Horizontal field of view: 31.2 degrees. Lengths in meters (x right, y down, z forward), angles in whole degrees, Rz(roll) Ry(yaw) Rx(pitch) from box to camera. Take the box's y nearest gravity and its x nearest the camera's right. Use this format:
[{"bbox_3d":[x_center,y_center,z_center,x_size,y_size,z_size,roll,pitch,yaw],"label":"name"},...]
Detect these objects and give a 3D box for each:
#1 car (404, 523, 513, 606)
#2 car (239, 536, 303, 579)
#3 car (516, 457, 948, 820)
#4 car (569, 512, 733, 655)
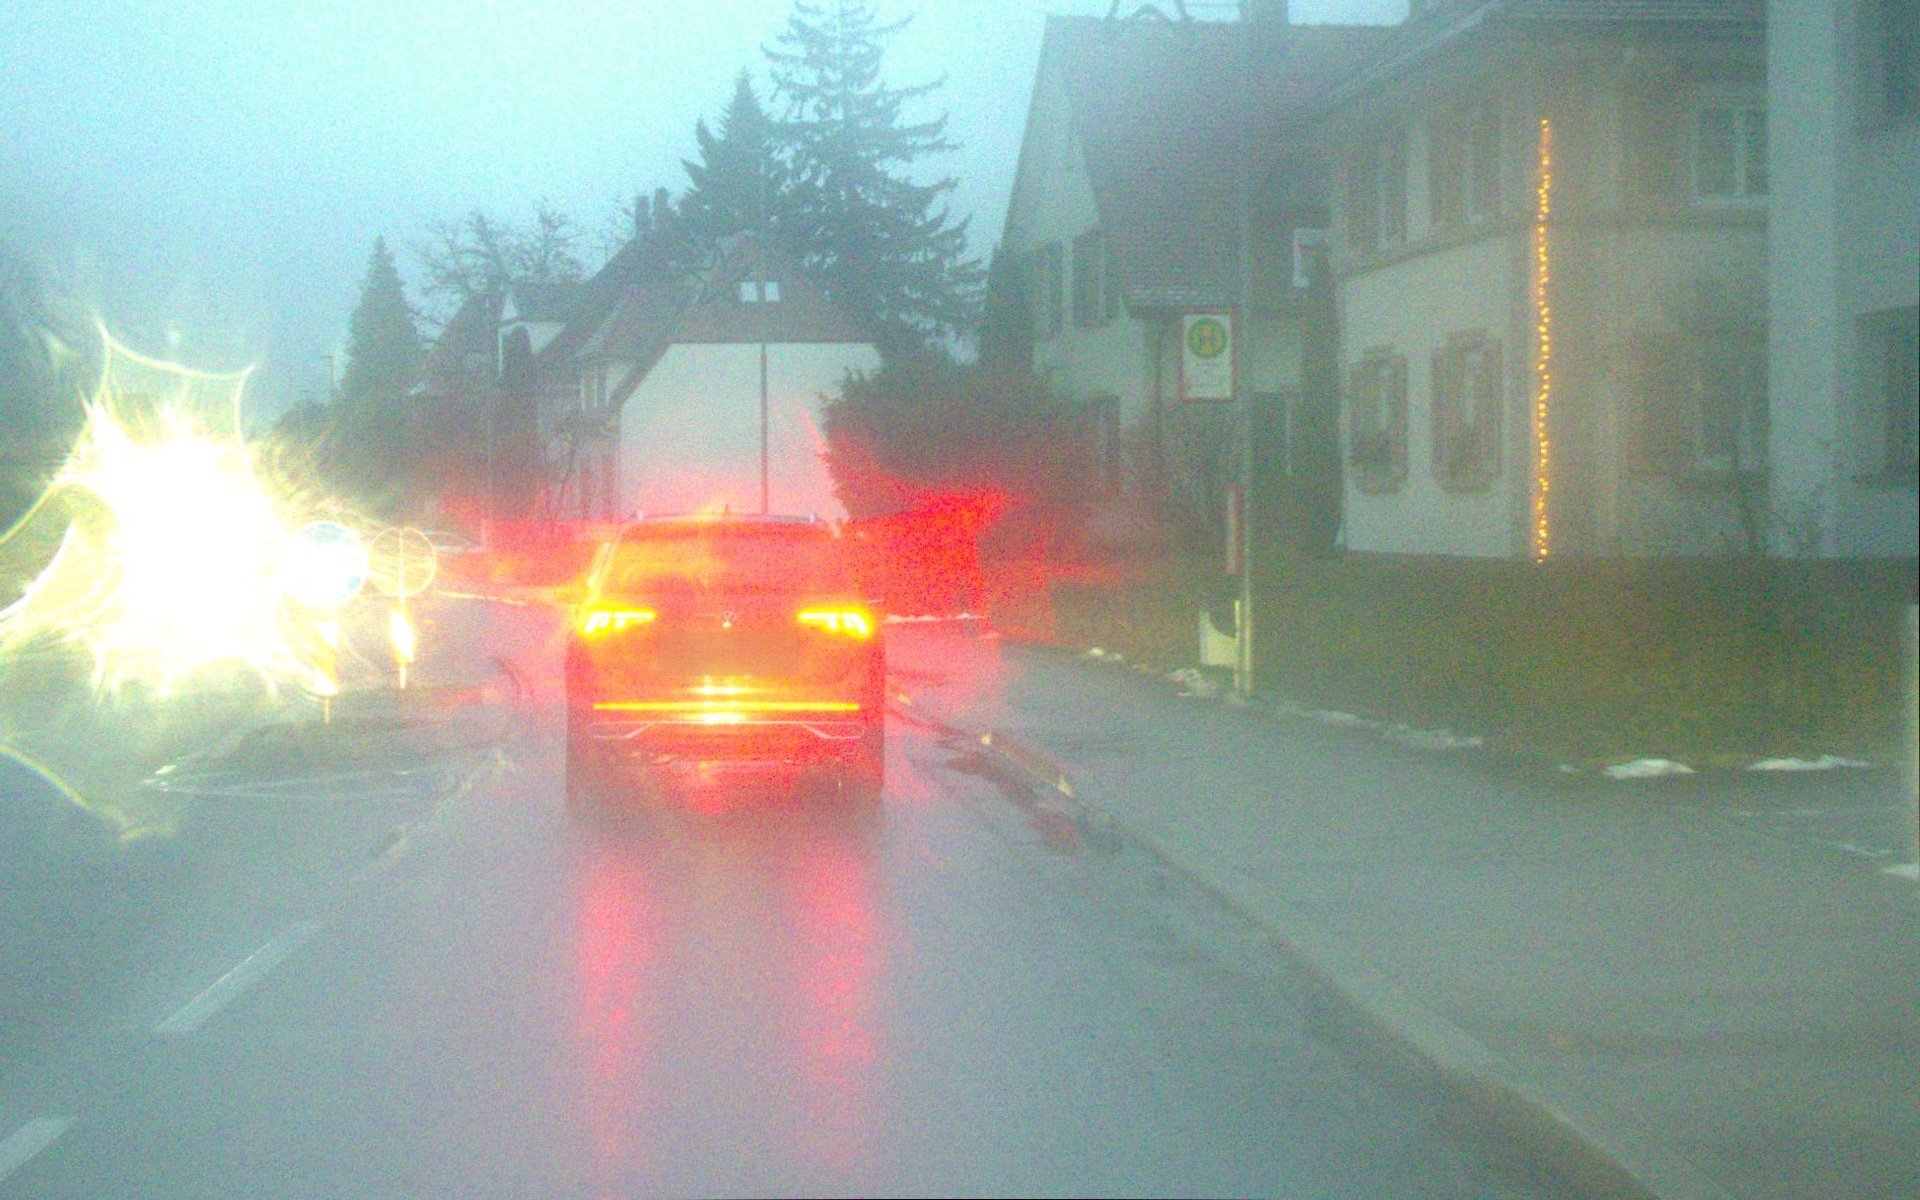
[{"bbox_3d":[-12.215,-0.872,83.501,2.309,1.932,5.019,-1,1,-12],"label":"car"},{"bbox_3d":[-22.196,-1.378,110.697,1.842,1.327,3.939,-1,1,-14],"label":"car"},{"bbox_3d":[-1.447,0.176,21.061,2.309,1.932,5.019,-1,1,-5],"label":"car"},{"bbox_3d":[-3.801,-0.239,41.770,1.857,1.641,4.001,1,1,-7],"label":"car"}]
